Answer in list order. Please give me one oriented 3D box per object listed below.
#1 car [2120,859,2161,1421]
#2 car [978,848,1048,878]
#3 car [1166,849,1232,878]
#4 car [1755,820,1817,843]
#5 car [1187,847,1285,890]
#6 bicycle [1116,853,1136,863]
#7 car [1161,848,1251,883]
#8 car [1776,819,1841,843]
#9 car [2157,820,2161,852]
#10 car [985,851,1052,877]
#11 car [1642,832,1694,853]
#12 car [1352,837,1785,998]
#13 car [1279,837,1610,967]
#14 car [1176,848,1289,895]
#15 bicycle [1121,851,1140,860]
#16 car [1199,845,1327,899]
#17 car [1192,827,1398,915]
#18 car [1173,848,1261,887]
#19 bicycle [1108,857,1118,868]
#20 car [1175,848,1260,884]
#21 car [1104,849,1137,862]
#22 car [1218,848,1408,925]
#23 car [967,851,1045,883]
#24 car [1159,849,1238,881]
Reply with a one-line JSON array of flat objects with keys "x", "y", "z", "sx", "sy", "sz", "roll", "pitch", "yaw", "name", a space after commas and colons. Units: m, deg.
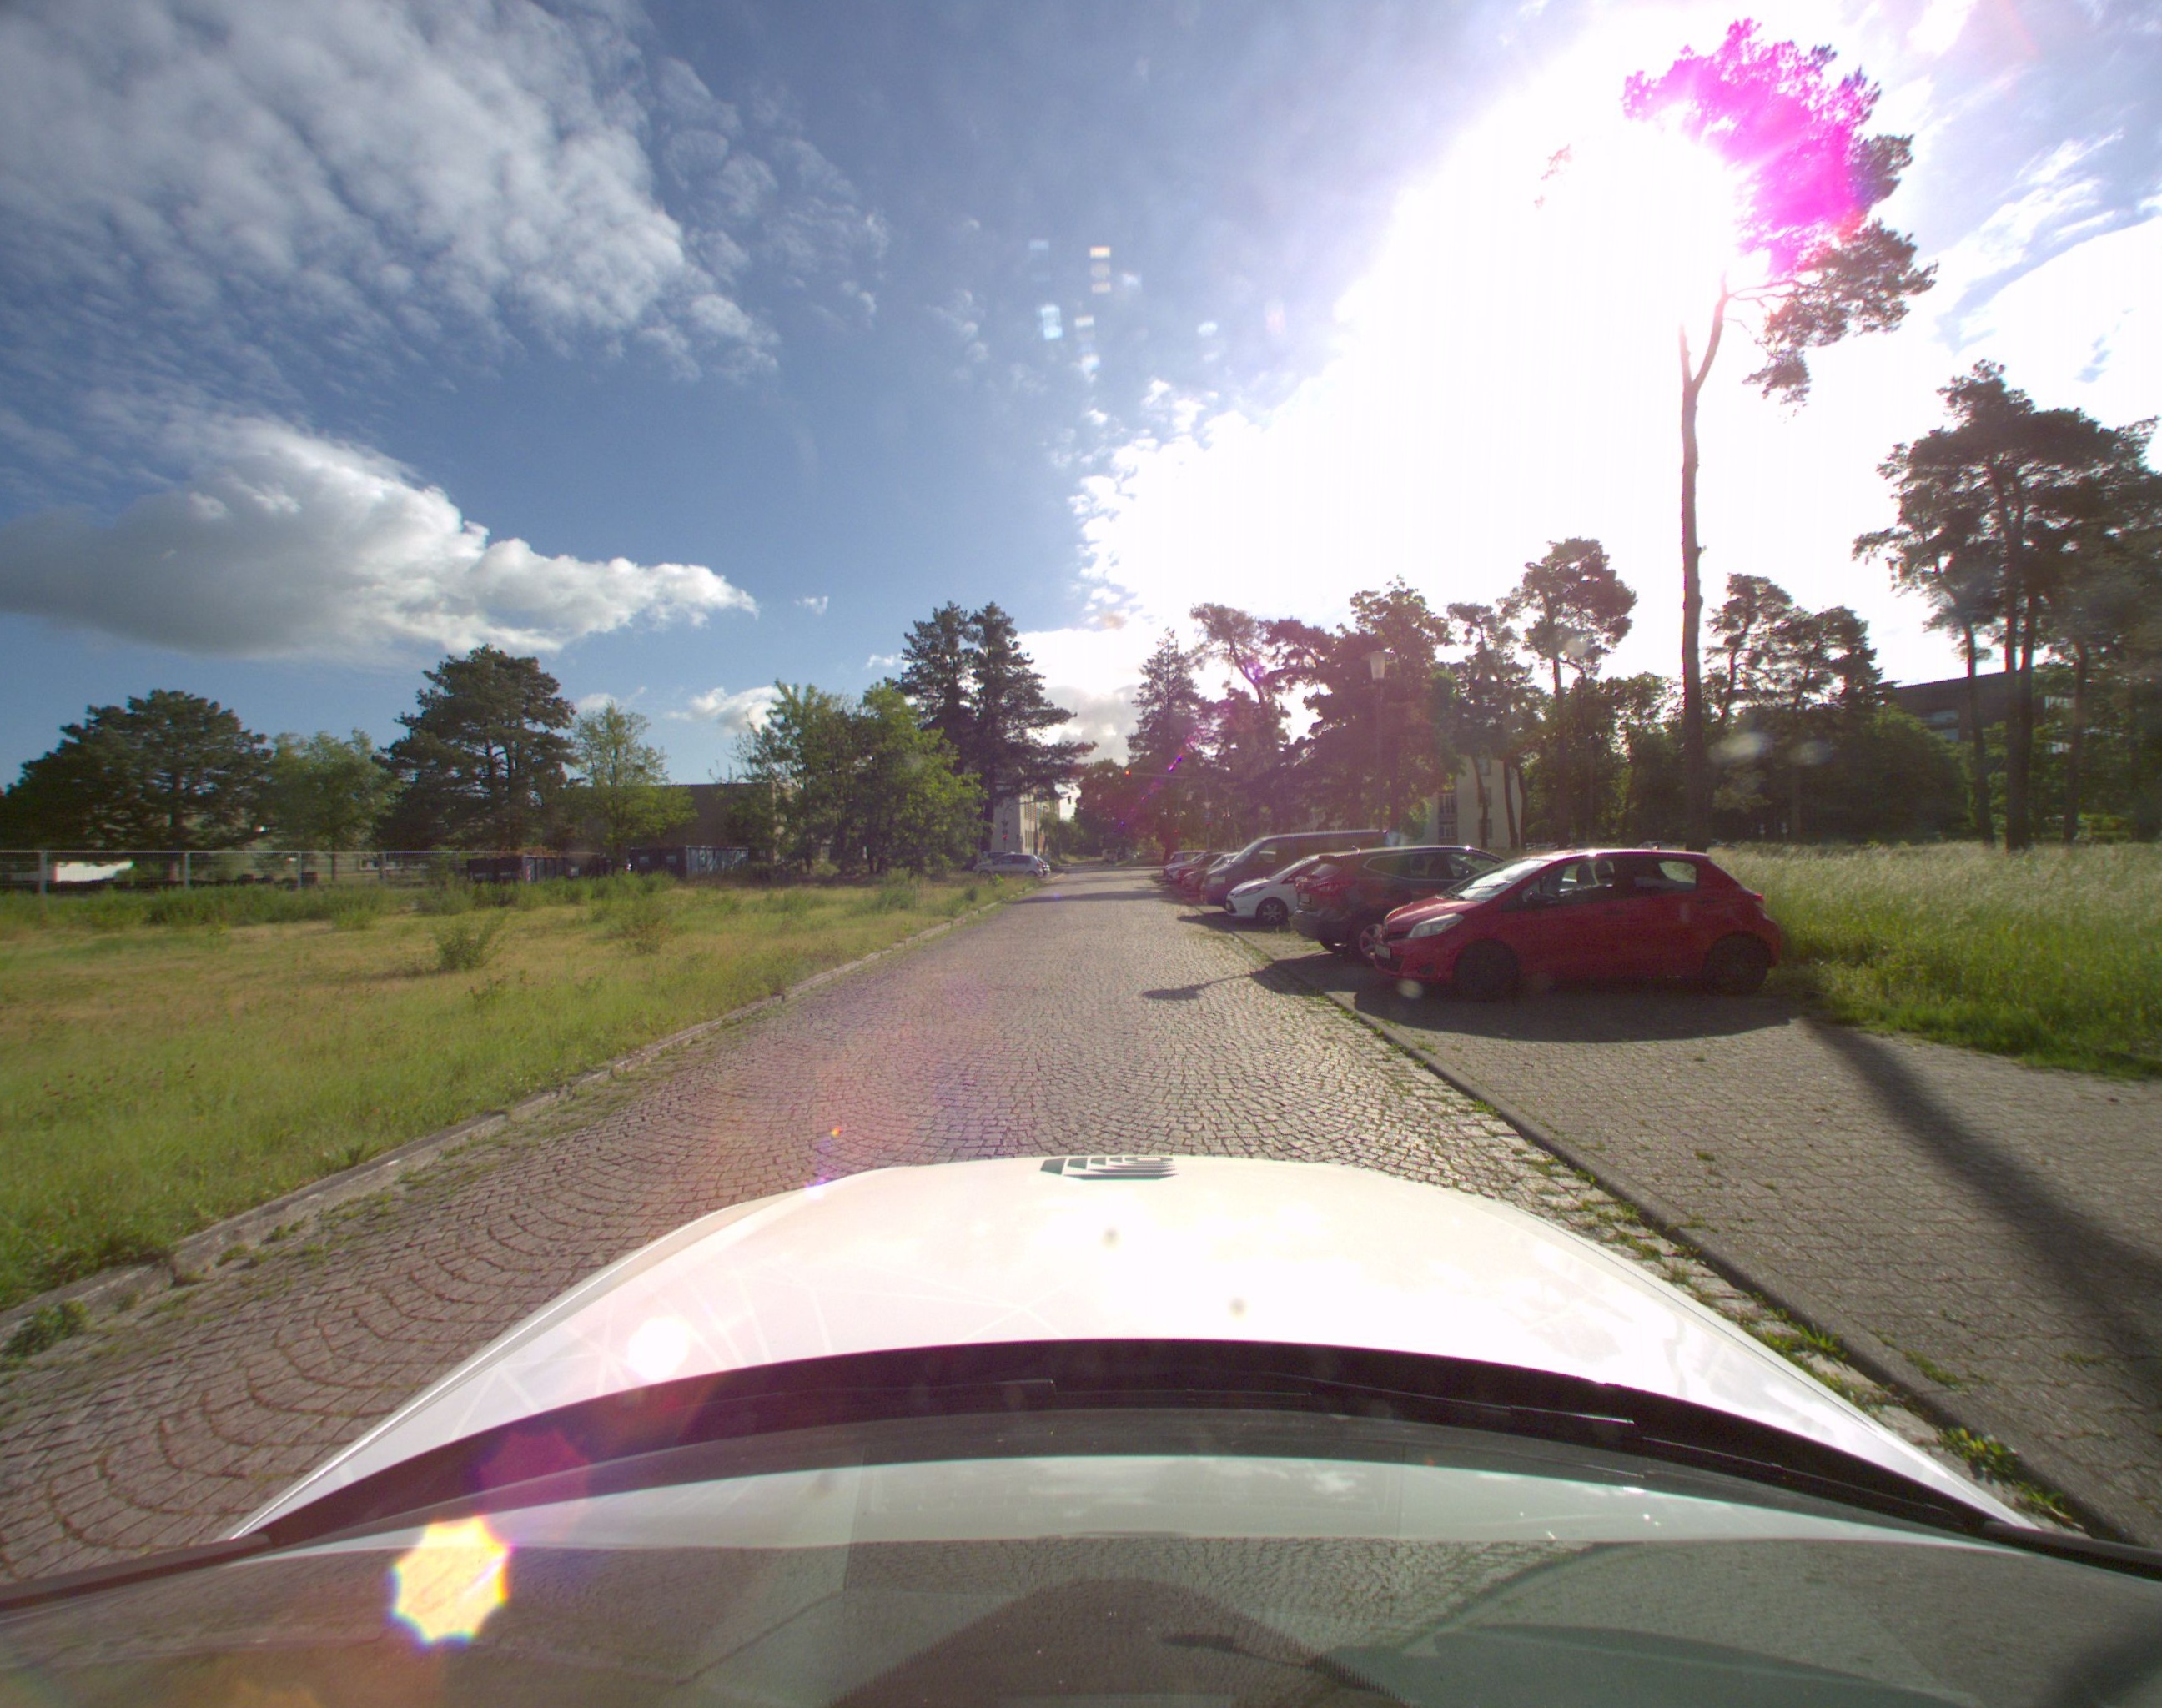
[{"x": 4.697, "y": 0.691, "z": 1.330, "sx": 3.813, "sy": 1.478, "sz": 1.646, "roll": -2, "pitch": 0, "yaw": 1, "name": "car"}, {"x": -4.068, "y": 0.535, "z": 49.236, "sx": 3.972, "sy": 1.601, "sz": 2.001, "roll": 2, "pitch": 0, "yaw": 1, "name": "car"}, {"x": 6.387, "y": 0.491, "z": 44.323, "sx": 3.332, "sy": 1.482, "sz": 1.646, "roll": -1, "pitch": 0, "yaw": 0, "name": "car"}, {"x": 65.085, "y": -2.051, "z": 75.258, "sx": 3.972, "sy": 2.013, "sz": 2.001, "roll": -1, "pitch": 0, "yaw": 2, "name": "car"}, {"x": 5.978, "y": 0.548, "z": 31.680, "sx": 3.466, "sy": 1.529, "sz": 1.645, "roll": -1, "pitch": 0, "yaw": 0, "name": "car"}, {"x": 5.155, "y": 0.491, "z": 93.397, "sx": 2.171, "sy": 1.100, "sz": 0.805, "roll": -1, "pitch": 0, "yaw": -8, "name": "bicycle"}, {"x": 5.930, "y": 0.520, "z": 38.919, "sx": 4.023, "sy": 1.529, "sz": 1.644, "roll": -1, "pitch": 0, "yaw": -2, "name": "car"}, {"x": 65.260, "y": -2.086, "z": 73.090, "sx": 3.972, "sy": 2.013, "sz": 2.001, "roll": -1, "pitch": 0, "yaw": 2, "name": "car"}, {"x": 69.690, "y": -1.169, "z": 50.194, "sx": 3.972, "sy": 2.013, "sz": 2.001, "roll": -1, "pitch": 0, "yaw": 2, "name": "car"}, {"x": -3.904, "y": 0.624, "z": 51.634, "sx": 3.972, "sy": 1.453, "sz": 2.001, "roll": 2, "pitch": 0, "yaw": 1, "name": "car"}, {"x": 61.384, "y": -1.189, "z": 85.160, "sx": 3.972, "sy": 2.013, "sz": 2.001, "roll": -1, "pitch": 0, "yaw": 2, "name": "car"}, {"x": 5.119, "y": 0.631, "z": 8.935, "sx": 3.748, "sy": 1.530, "sz": 1.646, "roll": -1, "pitch": 0, "yaw": 1, "name": "car"}, {"x": 5.003, "y": 0.625, "z": 11.607, "sx": 3.922, "sy": 1.621, "sz": 1.772, "roll": -1, "pitch": 0, "yaw": 0, "name": "car"}, {"x": 5.301, "y": 0.603, "z": 28.777, "sx": 3.662, "sy": 1.467, "sz": 1.645, "roll": -2, "pitch": 0, "yaw": 0, "name": "car"}, {"x": 5.754, "y": 0.177, "z": 94.750, "sx": 2.171, "sy": 1.100, "sz": 0.805, "roll": -1, "pitch": 0, "yaw": -8, "name": "bicycle"}, {"x": 5.705, "y": 0.557, "z": 25.876, "sx": 3.679, "sy": 1.465, "sz": 1.647, "roll": -3, "pitch": 0, "yaw": 2, "name": "car"}, {"x": 5.308, "y": 0.403, "z": 20.705, "sx": 4.663, "sy": 2.013, "sz": 2.083, "roll": -1, "pitch": 0, "yaw": -1, "name": "car"}, {"x": 5.701, "y": 0.541, "z": 34.382, "sx": 3.466, "sy": 1.529, "sz": 1.645, "roll": -1, "pitch": 0, "yaw": 0, "name": "car"}, {"x": 3.533, "y": 0.900, "z": 89.978, "sx": 0.803, "sy": 1.169, "sz": 2.177, "roll": -3, "pitch": 0, "yaw": -4, "name": "bicycle"}, {"x": 6.136, "y": 0.524, "z": 36.833, "sx": 3.590, "sy": 1.529, "sz": 1.645, "roll": -1, "pitch": 0, "yaw": 0, "name": "car"}, {"x": 5.318, "y": 0.182, "z": 110.880, "sx": 4.464, "sy": 1.728, "sz": 2.001, "roll": -1, "pitch": 0, "yaw": 1, "name": "car"}, {"x": 5.044, "y": 0.683, "z": 18.031, "sx": 3.707, "sy": 1.488, "sz": 1.645, "roll": -2, "pitch": 0, "yaw": -1, "name": "car"}, {"x": -3.991, "y": 0.696, "z": 43.839, "sx": 3.975, "sy": 1.600, "sz": 1.999, "roll": -1, "pitch": 0, "yaw": -1, "name": "car"}, {"x": 5.985, "y": 0.532, "z": 41.692, "sx": 3.822, "sy": 1.529, "sz": 1.645, "roll": -1, "pitch": 0, "yaw": 0, "name": "car"}]
